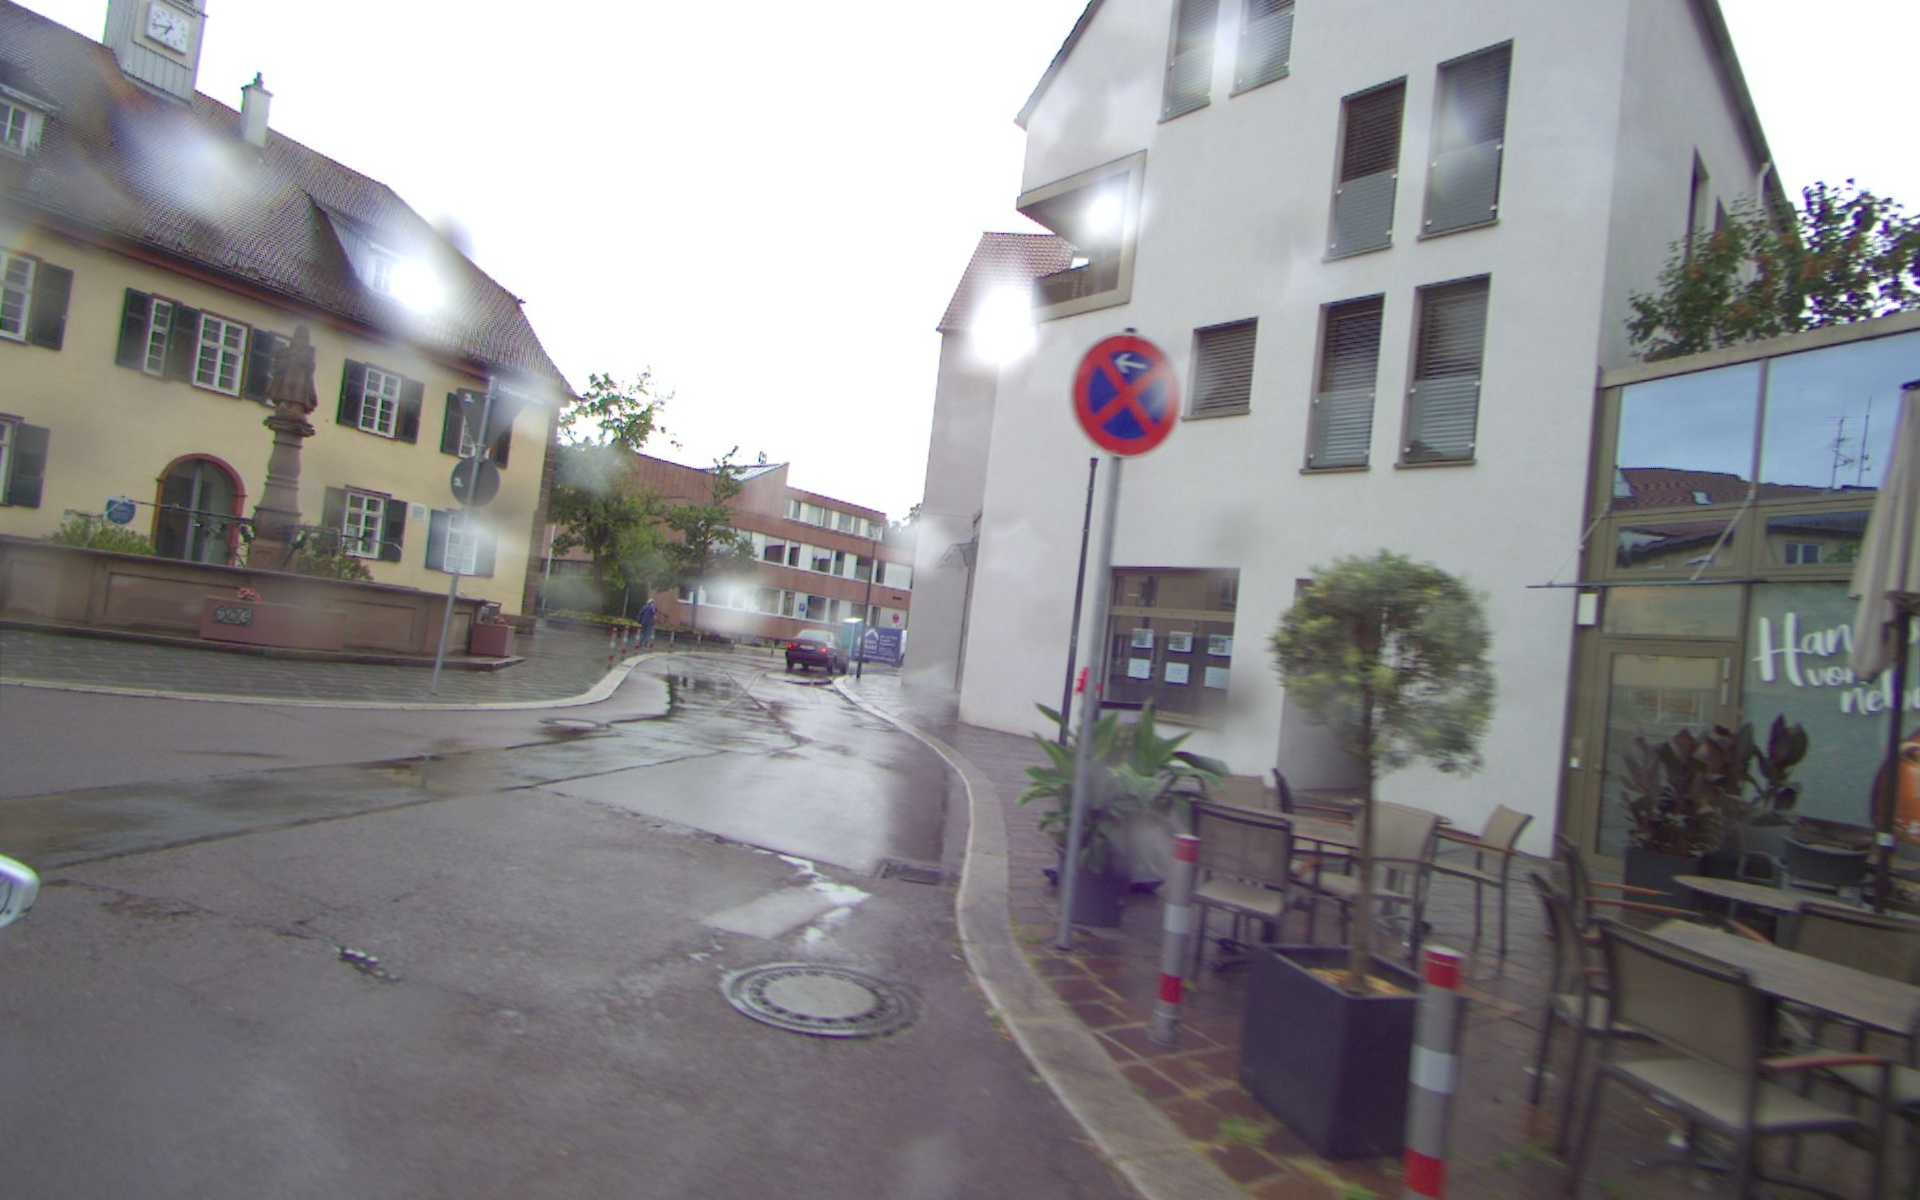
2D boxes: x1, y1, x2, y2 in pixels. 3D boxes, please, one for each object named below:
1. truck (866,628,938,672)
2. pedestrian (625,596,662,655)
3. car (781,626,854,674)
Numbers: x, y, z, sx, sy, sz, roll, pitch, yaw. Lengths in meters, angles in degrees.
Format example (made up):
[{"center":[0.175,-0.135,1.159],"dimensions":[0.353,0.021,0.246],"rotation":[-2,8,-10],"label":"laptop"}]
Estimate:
[{"center":[-3.334,2.888,57.910],"dimensions":[3.488,2.037,1.863],"rotation":[6,-2,30],"label":"truck"},{"center":[-10.343,0.843,32.874],"dimensions":[0.778,1.843,0.687],"rotation":[7,-1,2],"label":"pedestrian"},{"center":[-4.928,1.750,35.158],"dimensions":[1.641,1.379,3.610],"rotation":[7,-2,5],"label":"car"}]
